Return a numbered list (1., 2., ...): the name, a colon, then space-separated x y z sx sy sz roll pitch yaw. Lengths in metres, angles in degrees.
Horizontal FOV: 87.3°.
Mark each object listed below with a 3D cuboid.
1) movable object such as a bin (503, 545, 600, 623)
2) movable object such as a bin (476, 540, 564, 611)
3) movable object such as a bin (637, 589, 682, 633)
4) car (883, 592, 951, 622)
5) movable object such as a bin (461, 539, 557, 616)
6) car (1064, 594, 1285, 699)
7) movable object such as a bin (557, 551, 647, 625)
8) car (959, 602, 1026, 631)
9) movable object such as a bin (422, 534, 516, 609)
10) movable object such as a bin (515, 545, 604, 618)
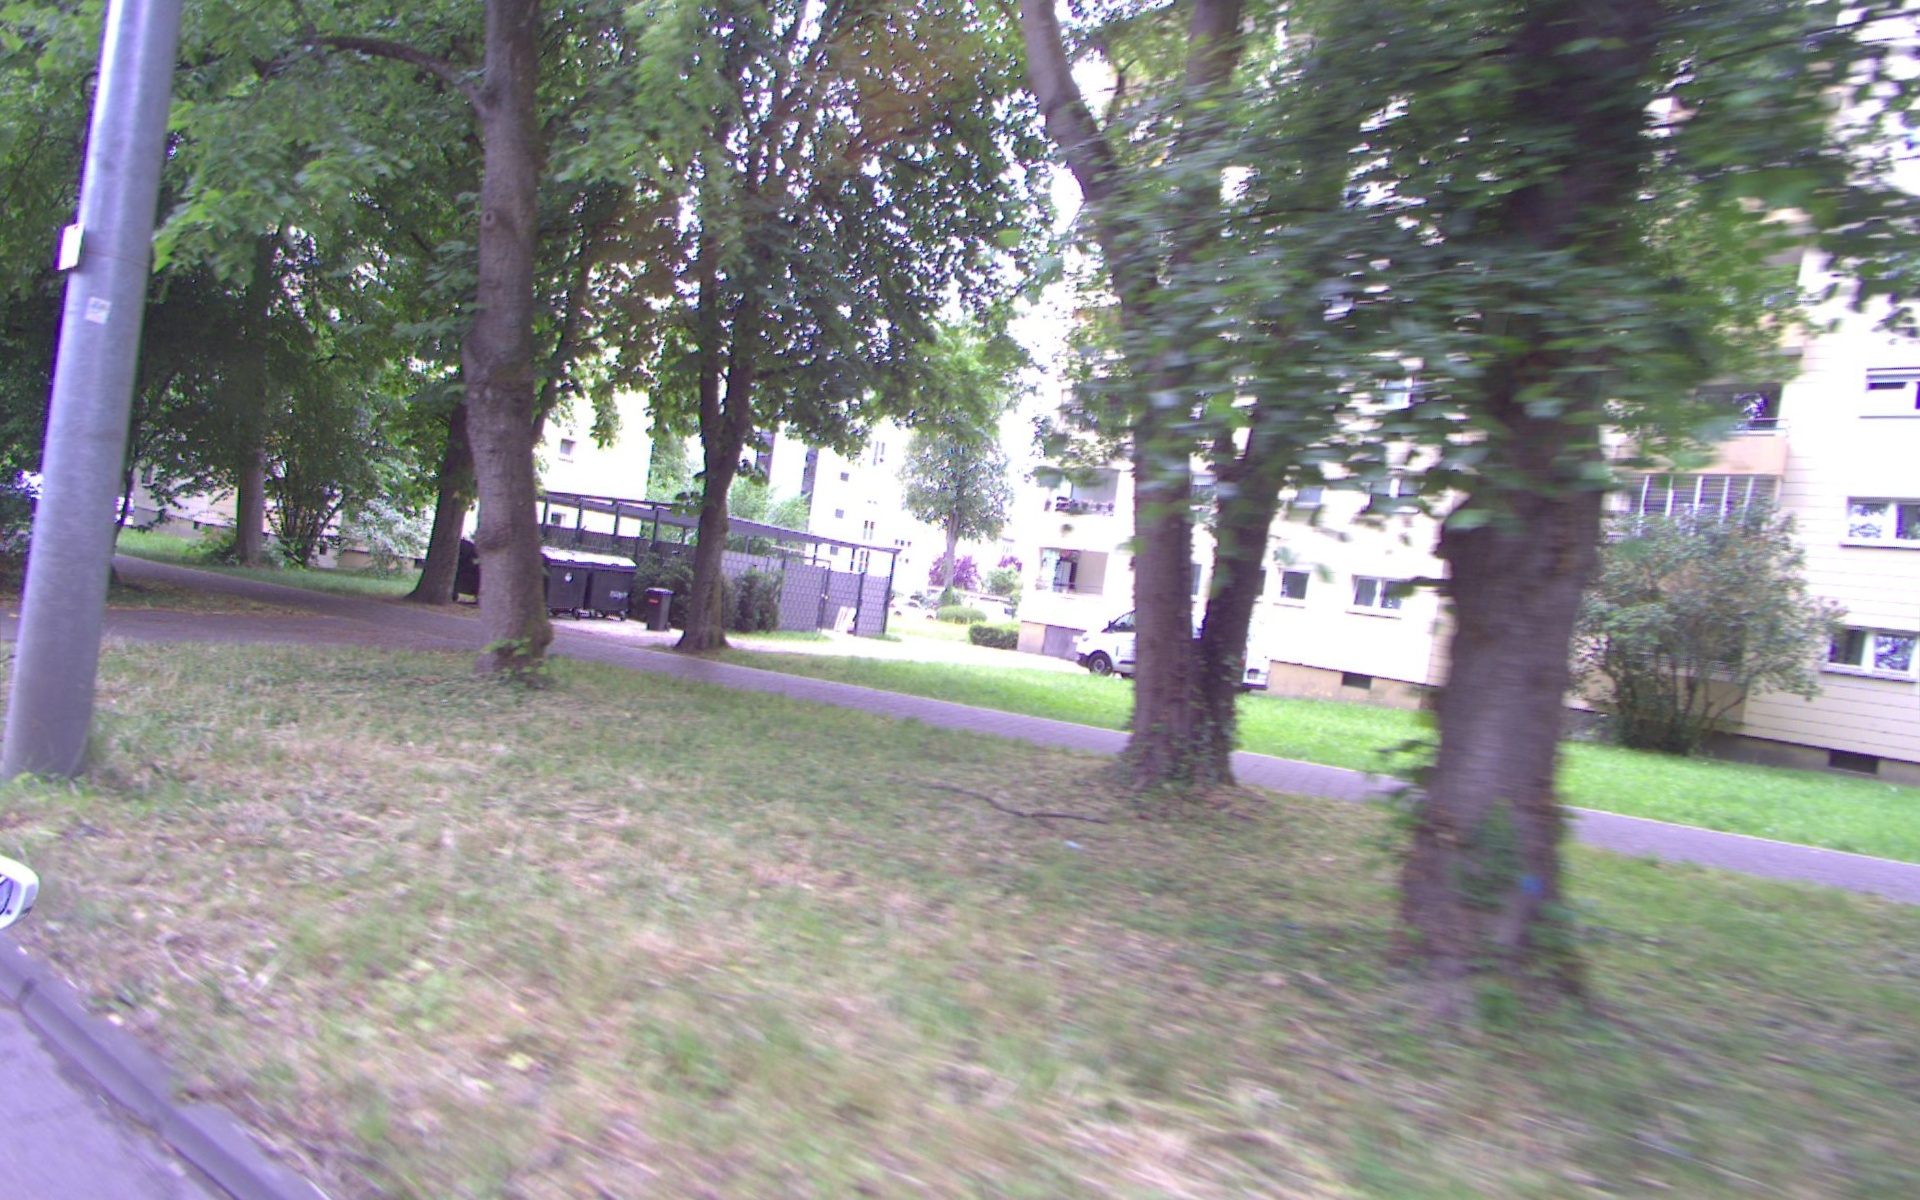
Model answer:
1. movable object such as a bin: -8.928 -0.337 22.037 1.291 1.520 1.329 7 1 26
2. movable object such as a bin: -10.711 -0.588 24.513 1.291 1.520 1.329 7 1 26
3. movable object such as a bin: -6.703 0.257 22.429 0.657 0.889 0.600 7 1 26
4. car: -2.954 0.469 69.211 4.271 1.529 1.794 7 0 -17
5. movable object such as a bin: -10.131 -0.502 22.615 1.291 1.520 1.329 7 1 26
6. car: 5.345 1.129 25.428 4.891 1.866 2.085 9 2 37
7. movable object such as a bin: -8.288 -0.267 23.335 1.291 1.520 1.329 7 1 26
8. car: 2.291 1.143 71.154 4.271 1.529 1.794 7 0 -17
9. movable object such as a bin: -11.310 -0.648 23.192 1.291 1.520 1.329 7 1 26
10. movable object such as a bin: -9.514 -0.428 23.939 1.291 1.520 1.329 7 1 26
